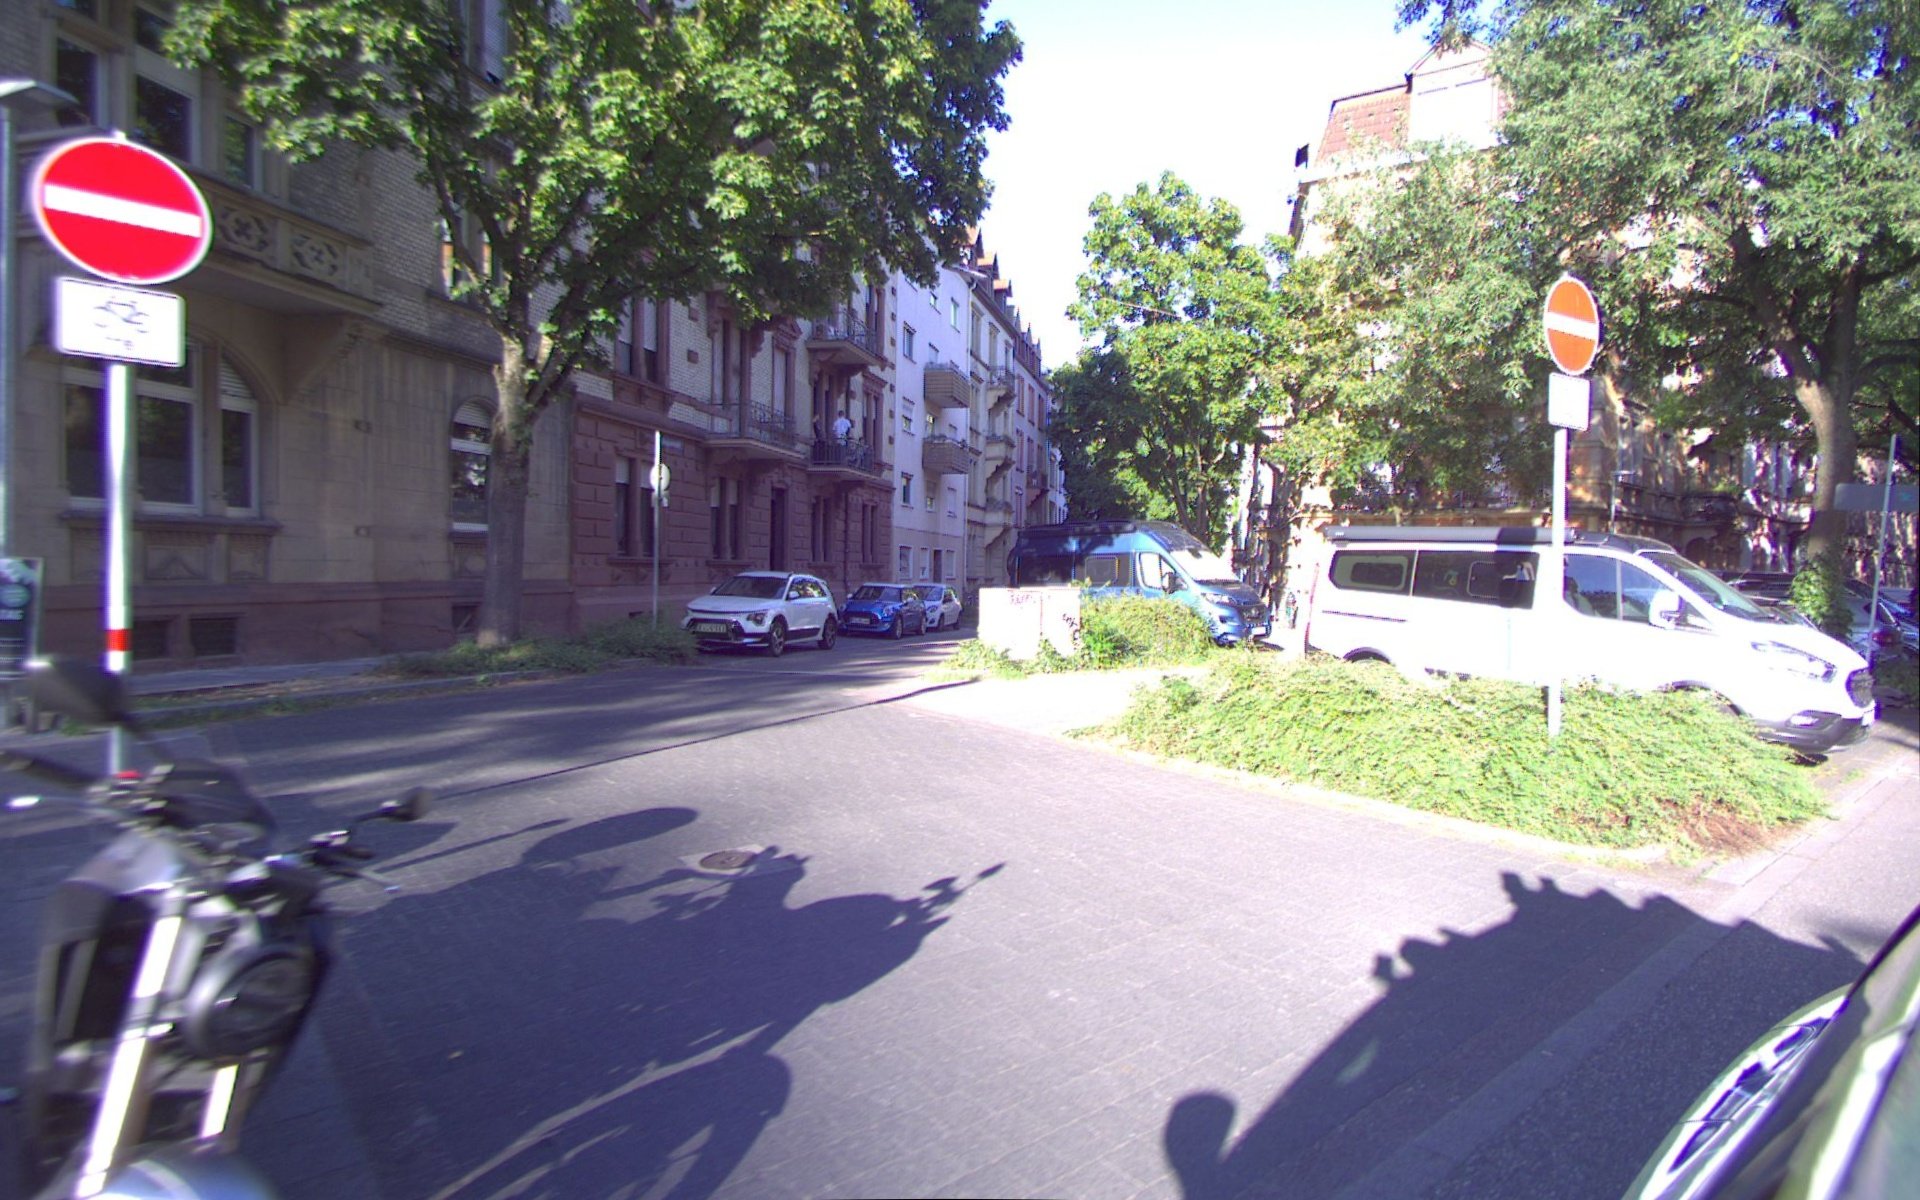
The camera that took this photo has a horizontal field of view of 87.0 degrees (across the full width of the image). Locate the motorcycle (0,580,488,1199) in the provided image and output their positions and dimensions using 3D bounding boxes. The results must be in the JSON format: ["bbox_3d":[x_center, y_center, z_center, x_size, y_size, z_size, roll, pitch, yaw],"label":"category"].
[{"bbox_3d":[-1.675,0.653,2.142,0.611,1.343,2.017,0,2,-43],"label":"motorcycle"}]

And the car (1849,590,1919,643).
[{"bbox_3d":[31.882,0.581,33.210,1.695,1.669,3.890,0,2,-42],"label":"car"}]

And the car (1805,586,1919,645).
[{"bbox_3d":[26.412,0.449,28.436,3.987,1.492,1.754,5,3,43],"label":"car"}]

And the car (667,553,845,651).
[{"bbox_3d":[-3.774,-0.023,19.549,1.755,1.630,4.201,2,2,14],"label":"car"}]

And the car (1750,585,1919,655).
[{"bbox_3d":[22.447,0.470,25.169,1.810,1.516,4.091,0,2,-39],"label":"car"}]

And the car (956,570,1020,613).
[{"bbox_3d":[1.203,-0.376,41.032,1.839,1.601,4.230,1,1,12],"label":"car"}]

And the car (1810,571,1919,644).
[{"bbox_3d":[28.606,0.215,29.847,2.121,1.963,5.104,-4,5,-39],"label":"car"}]

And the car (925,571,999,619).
[{"bbox_3d":[0.132,-0.217,36.564,1.839,1.601,4.230,1,1,12],"label":"car"}]

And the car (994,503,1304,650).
[{"bbox_3d":[3.660,-0.520,20.602,5.896,2.569,2.342,3,2,44],"label":"car"}]

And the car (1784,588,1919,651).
[{"bbox_3d":[24.504,0.508,26.369,1.899,1.473,4.380,0,2,-39],"label":"car"}]

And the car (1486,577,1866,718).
[{"bbox_3d":[9.507,0.515,13.679,1.815,1.534,3.849,0,2,-40],"label":"car"}]

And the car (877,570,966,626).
[{"bbox_3d":[-1.134,-0.111,32.148,1.839,1.601,4.230,1,1,12],"label":"car"}]

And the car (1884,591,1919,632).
[{"bbox_3d":[38.379,0.519,38.449,1.964,1.548,4.565,0,2,-38],"label":"car"}]

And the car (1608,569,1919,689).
[{"bbox_3d":[13.522,0.386,17.082,1.769,1.713,3.994,0,2,-41],"label":"car"}]

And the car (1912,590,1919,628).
[{"bbox_3d":[42.993,0.458,42.698,1.752,1.610,3.992,0,2,-43],"label":"car"}]

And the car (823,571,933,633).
[{"bbox_3d":[-2.130,-0.001,27.436,1.839,1.493,4.230,1,1,12],"label":"car"}]

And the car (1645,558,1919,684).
[{"bbox_3d":[15.552,0.296,18.516,1.966,2.038,4.622,0,2,-42],"label":"car"}]

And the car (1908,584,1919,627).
[{"bbox_3d":[41.332,0.365,40.581,1.850,1.723,4.652,0,4,-43],"label":"car"}]

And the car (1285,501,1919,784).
[{"bbox_3d":[6.071,0.227,10.183,2.068,2.122,4.985,0,2,-40],"label":"car"}]

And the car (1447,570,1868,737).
[{"bbox_3d":[8.210,0.498,12.196,1.710,1.615,3.849,0,2,-40],"label":"car"}]

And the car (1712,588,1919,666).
[{"bbox_3d":[19.322,0.546,22.321,1.854,1.465,4.001,0,2,-35],"label":"car"}]
